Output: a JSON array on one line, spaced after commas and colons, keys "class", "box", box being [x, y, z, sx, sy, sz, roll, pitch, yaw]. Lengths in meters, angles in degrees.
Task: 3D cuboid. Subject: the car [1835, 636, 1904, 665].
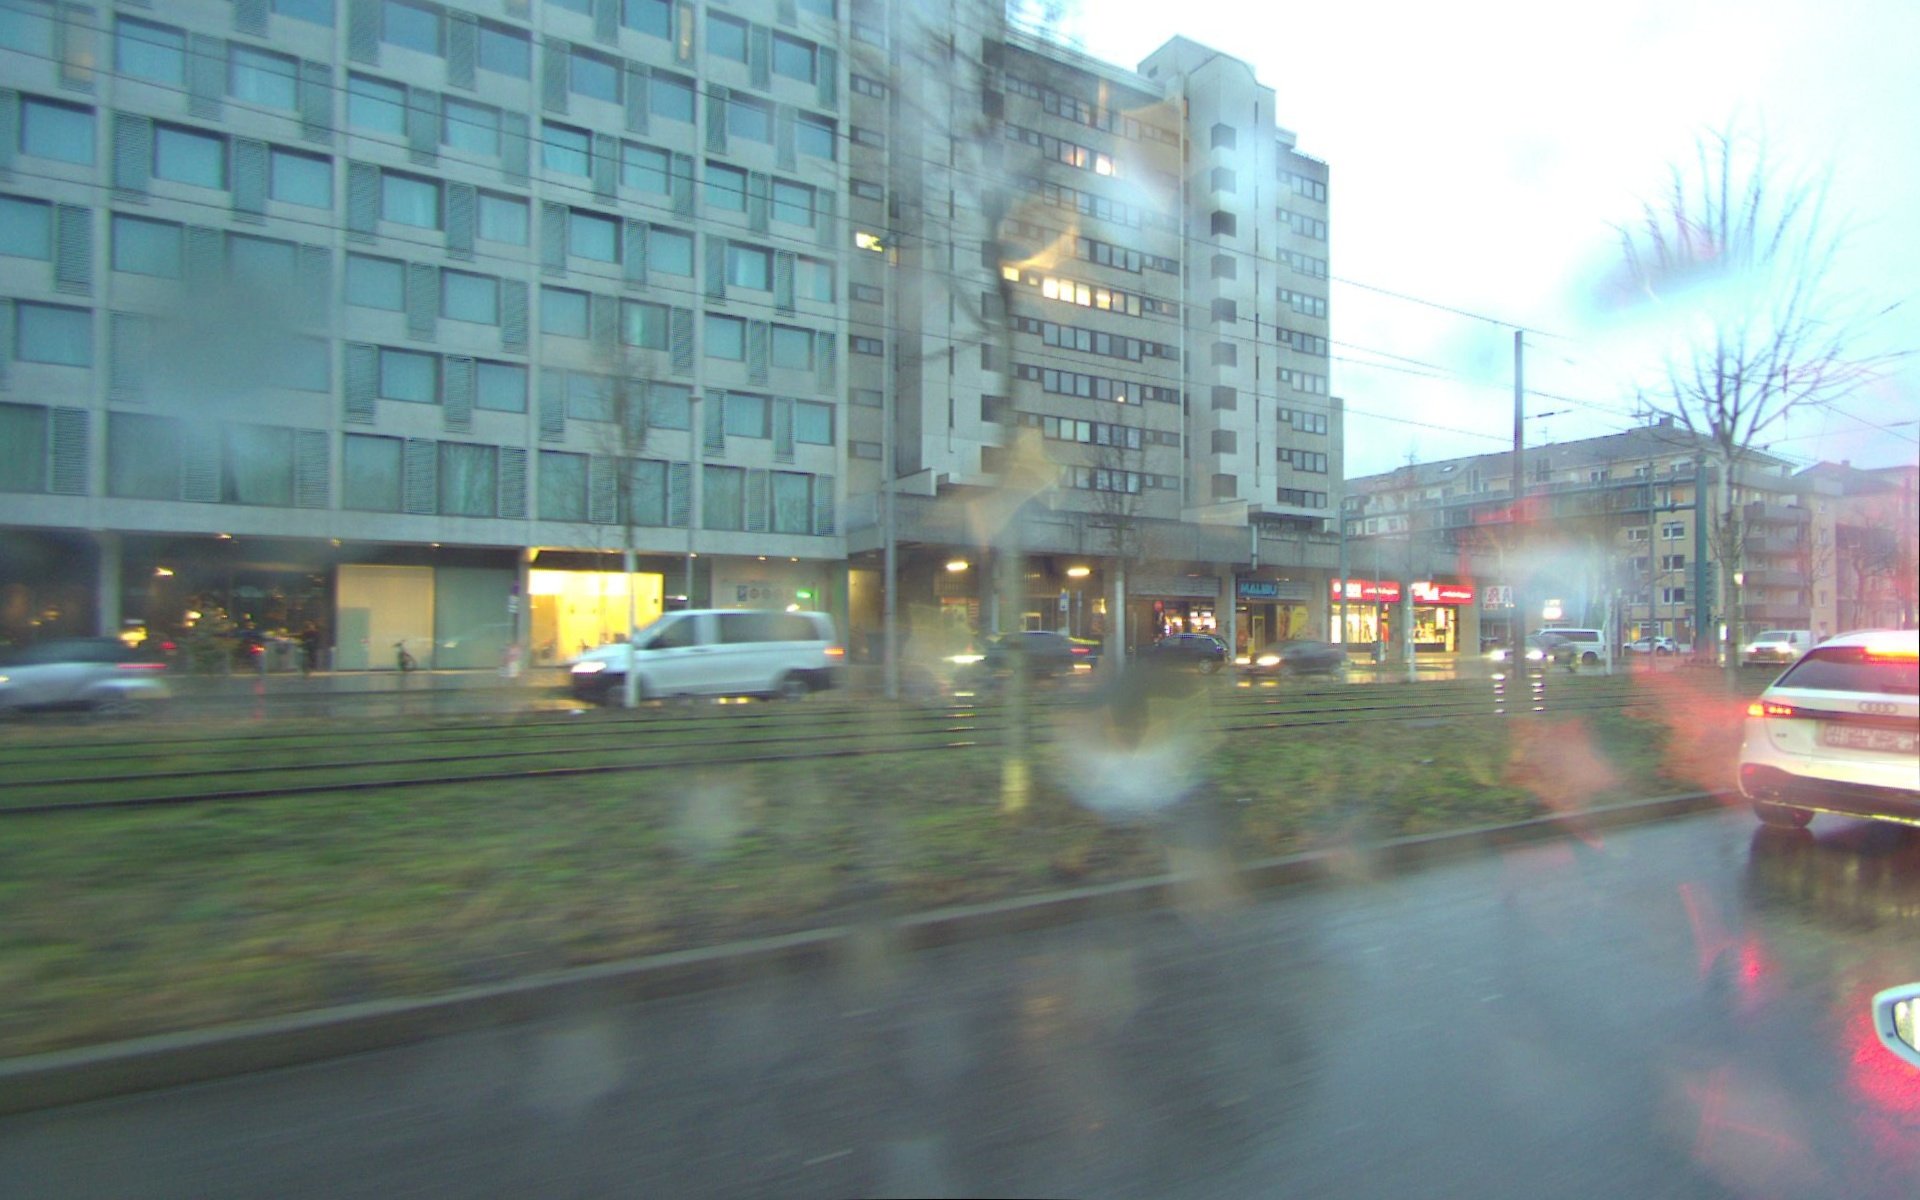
[{"class": "car", "box": [53.896, 2.967, 59.516, 4.529, 1.655, 1.886, 1, -2, -32]}]

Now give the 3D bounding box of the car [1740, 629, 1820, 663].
[{"class": "car", "box": [48.726, 2.693, 59.688, 5.102, 1.937, 1.985, 1, -2, -30]}]

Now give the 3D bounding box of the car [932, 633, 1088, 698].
[{"class": "car", "box": [1.561, 1.925, 30.613, 4.477, 1.837, 1.887, 1, -2, -31]}]

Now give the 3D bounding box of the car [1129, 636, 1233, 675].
[{"class": "car", "box": [9.342, 2.312, 42.484, 3.924, 1.405, 1.935, 2, 0, 25]}]

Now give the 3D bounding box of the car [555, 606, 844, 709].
[{"class": "car", "box": [-4.910, 1.045, 19.227, 5.058, 1.741, 1.887, 1, -2, -31]}]

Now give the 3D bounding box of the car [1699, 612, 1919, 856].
[{"class": "car", "box": [7.506, 0.851, 7.300, 4.561, 1.424, 1.837, 2, -1, -31]}]

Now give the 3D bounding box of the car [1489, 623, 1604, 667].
[{"class": "car", "box": [24.397, 1.853, 41.729, 4.854, 1.741, 1.888, 1, -2, -28]}]

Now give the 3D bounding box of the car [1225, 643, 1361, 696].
[{"class": "car", "box": [11.953, 2.444, 35.979, 4.858, 1.741, 1.887, 1, -2, -30]}]

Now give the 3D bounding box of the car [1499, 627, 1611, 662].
[{"class": "car", "box": [33.655, 2.510, 56.969, 5.059, 1.937, 2.001, -1, -2, 15]}]

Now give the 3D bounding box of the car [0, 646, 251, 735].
[{"class": "car", "box": [-16.693, 1.691, 19.385, 4.736, 1.536, 1.887, 1, -2, -31]}]
